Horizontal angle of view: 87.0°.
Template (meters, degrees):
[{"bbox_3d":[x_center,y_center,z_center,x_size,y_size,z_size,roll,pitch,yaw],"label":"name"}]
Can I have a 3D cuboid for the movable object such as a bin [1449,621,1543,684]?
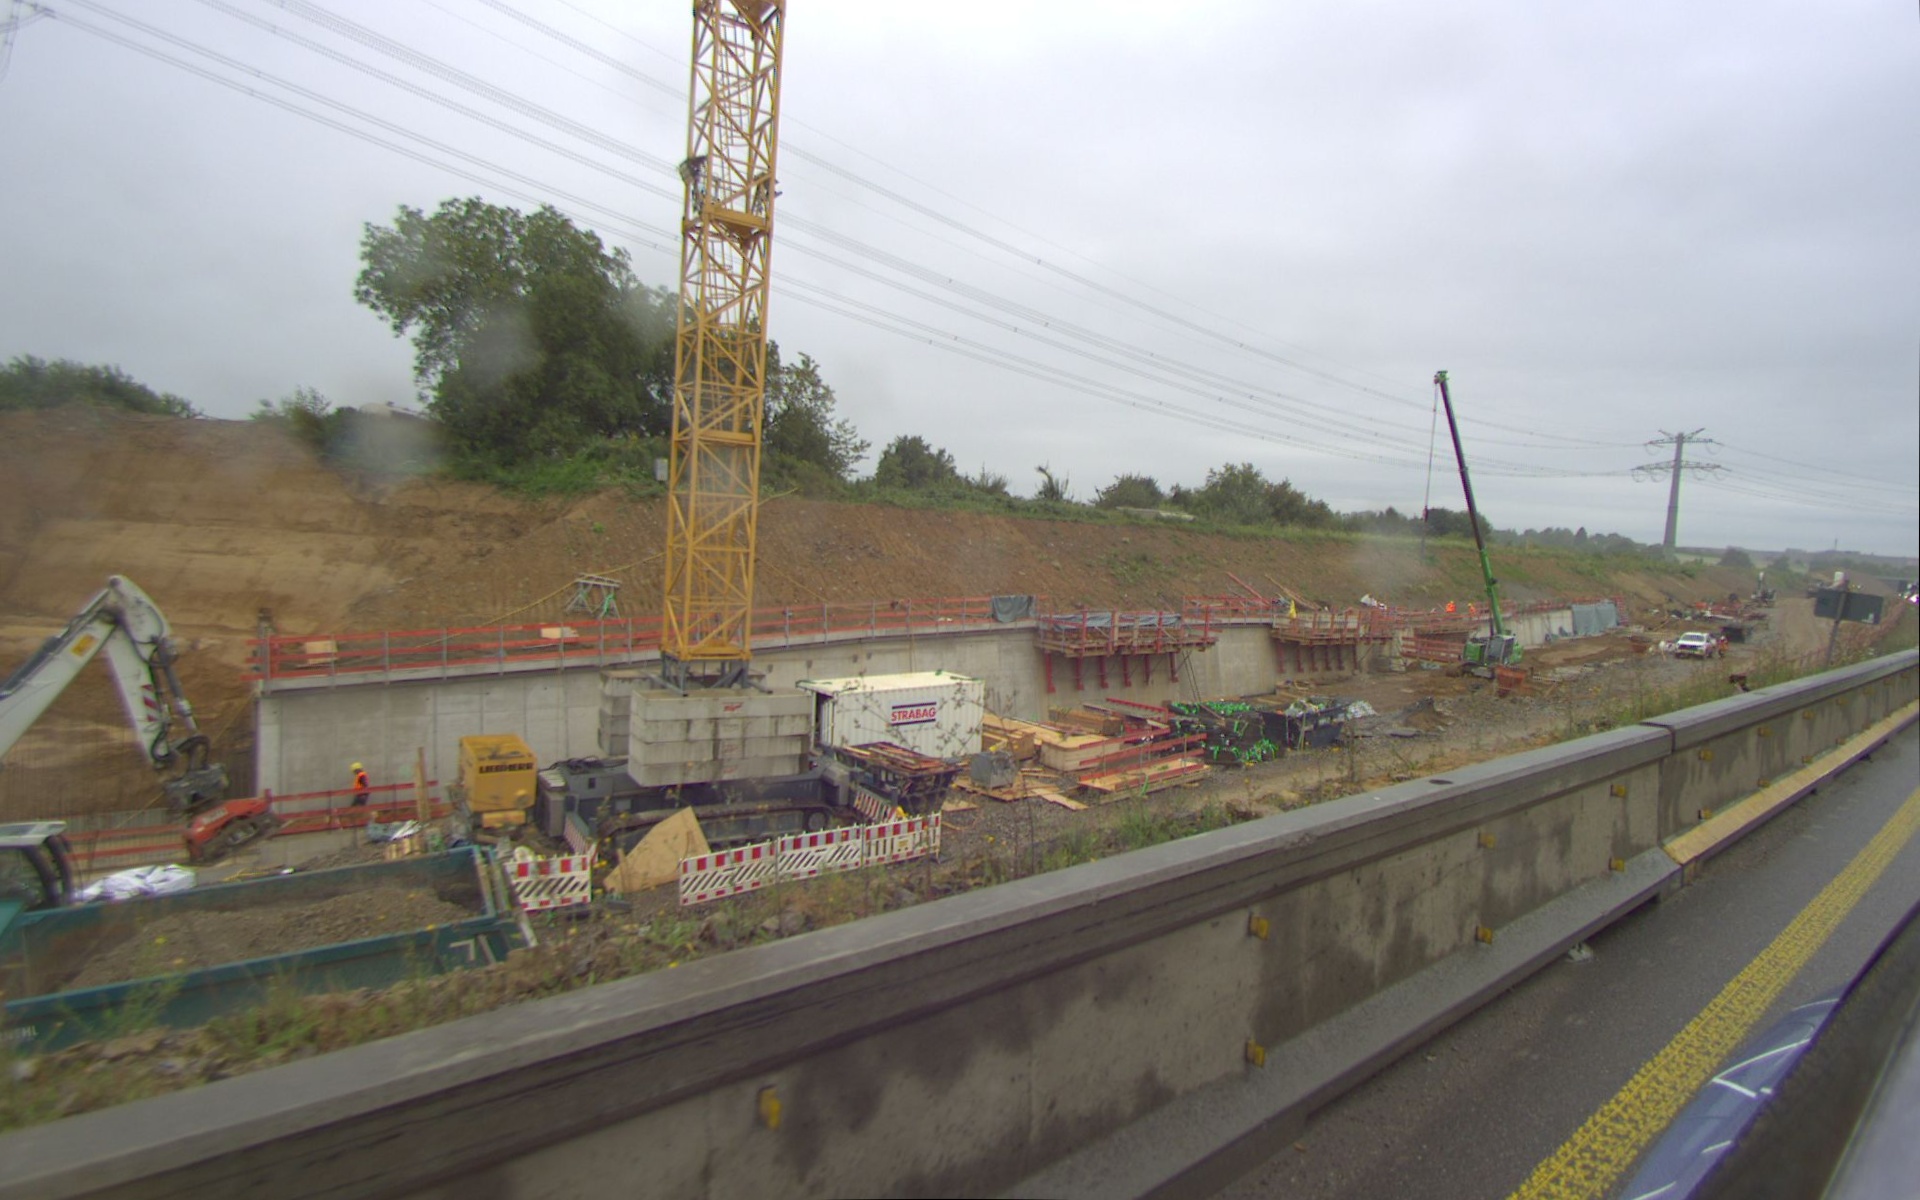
[{"bbox_3d":[32.402,3.071,61.133,4.781,2.836,3.795,-8,8,-44],"label":"movable object such as a bin"}]

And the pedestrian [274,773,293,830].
[{"bbox_3d":[-18.297,5.447,27.376,0.392,1.455,0.424,-1,-7,-37],"label":"pedestrian"}]

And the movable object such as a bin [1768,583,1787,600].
[{"bbox_3d":[135.410,-1.405,167.676,2.245,2.753,3.939,1,2,42],"label":"movable object such as a bin"}]

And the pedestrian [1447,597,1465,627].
[{"bbox_3d":[38.738,0.948,79.079,0.914,2.275,0.991,-4,-2,42],"label":"pedestrian"}]

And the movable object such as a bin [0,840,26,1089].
[{"bbox_3d":[-15.331,5.354,14.303,2.916,2.771,3.157,-1,2,-40],"label":"movable object such as a bin"}]

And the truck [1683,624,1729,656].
[{"bbox_3d":[54.586,2.878,74.013,5.692,1.893,1.764,-1,4,-44],"label":"truck"}]

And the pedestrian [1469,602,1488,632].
[{"bbox_3d":[40.112,1.290,78.261,0.988,2.260,0.916,-2,-2,-40],"label":"pedestrian"}]

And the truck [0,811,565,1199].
[{"bbox_3d":[-9.712,5.137,12.491,8.766,3.547,2.712,-1,1,-28],"label":"truck"}]
